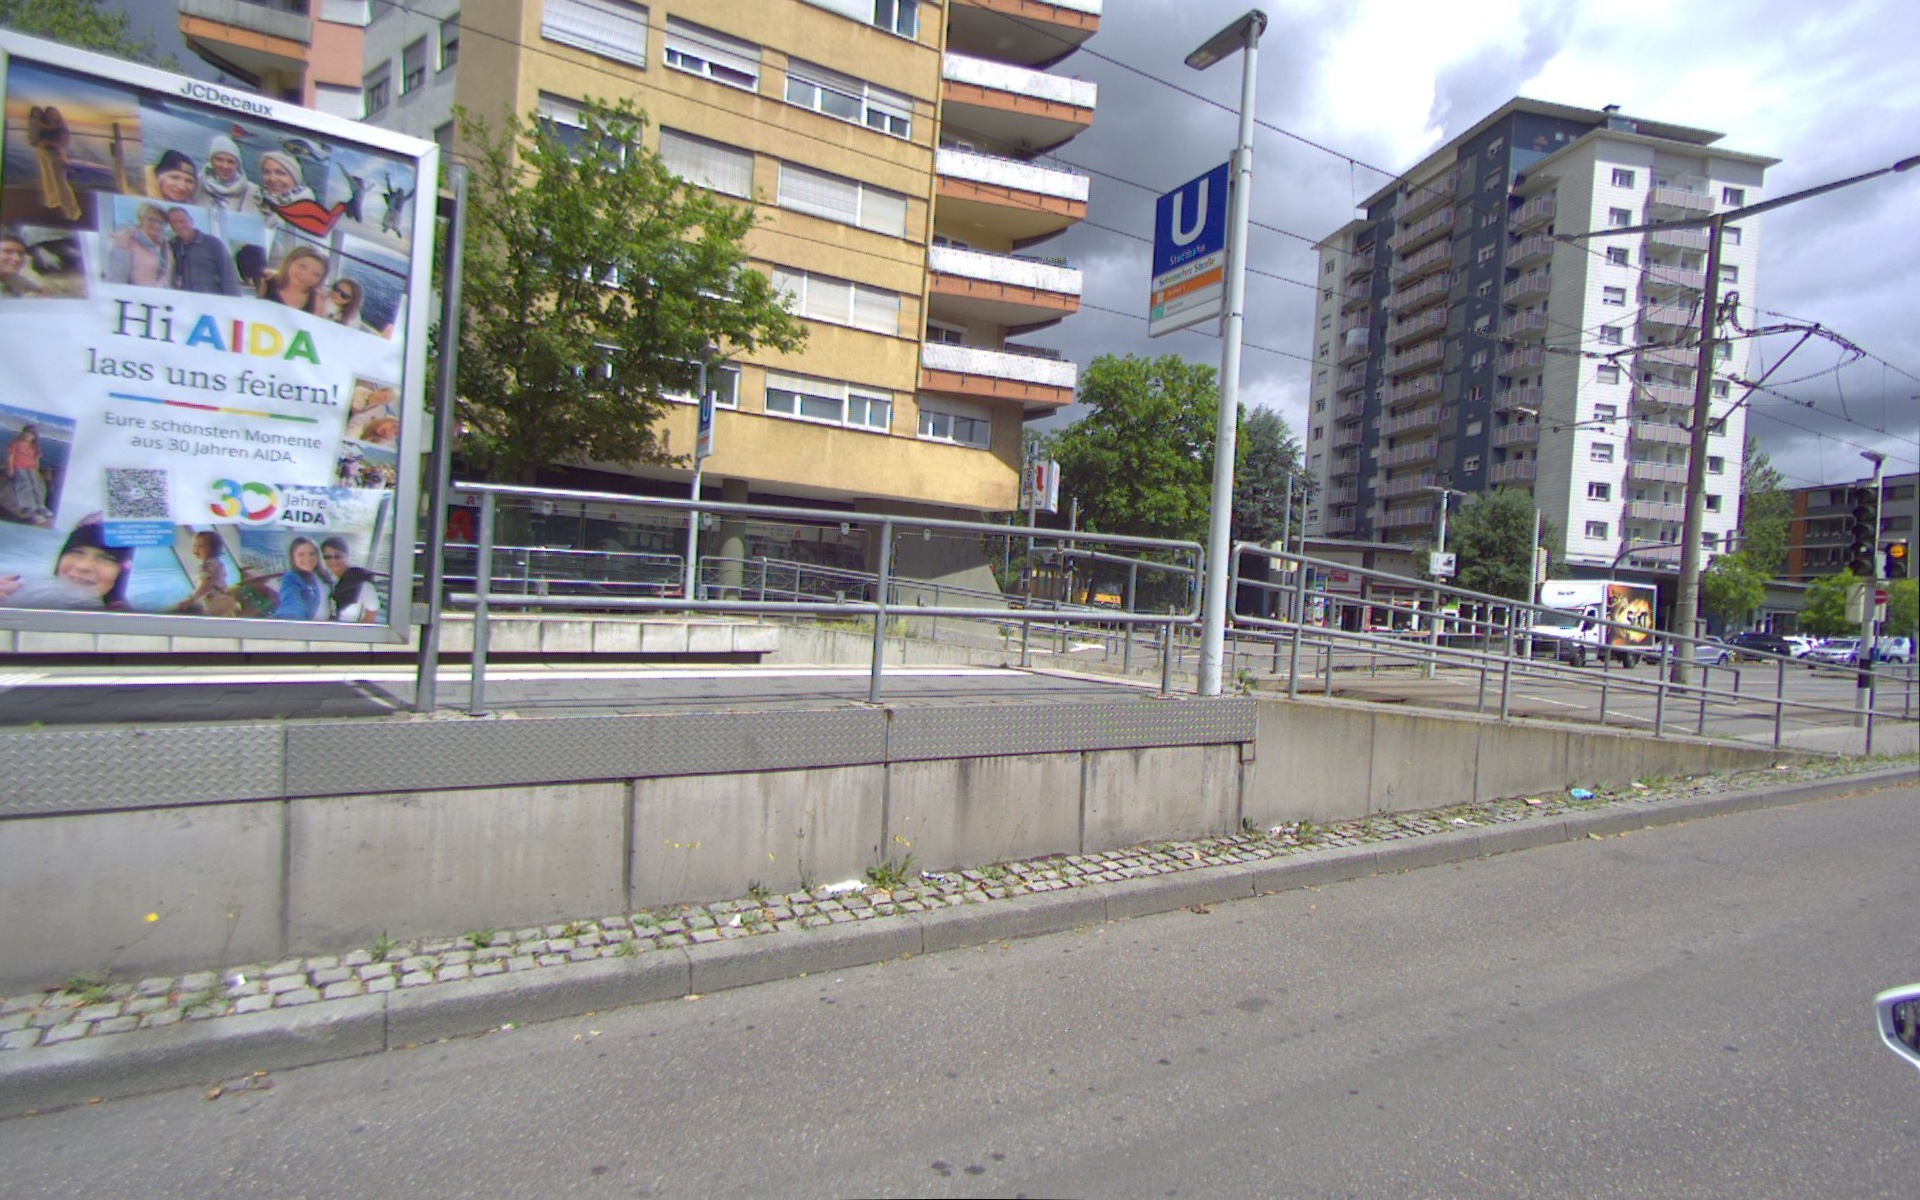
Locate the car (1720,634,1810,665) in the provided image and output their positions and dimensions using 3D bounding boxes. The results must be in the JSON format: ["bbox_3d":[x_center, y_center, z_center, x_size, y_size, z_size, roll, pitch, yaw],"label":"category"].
[{"bbox_3d":[48.211,2.935,60.216,3.845,1.669,1.657,2,0,15],"label":"car"}]

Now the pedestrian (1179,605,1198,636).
[{"bbox_3d":[10.720,0.962,47.129,0.669,1.394,0.473,2,1,-31],"label":"pedestrian"}]

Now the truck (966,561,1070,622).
[{"bbox_3d":[2.333,-0.371,41.631,2.322,2.321,4.260,2,1,-28],"label":"truck"}]

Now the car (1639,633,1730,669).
[{"bbox_3d":[32.512,2.295,45.088,3.716,1.480,1.405,2,0,-19],"label":"car"}]

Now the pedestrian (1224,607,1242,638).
[{"bbox_3d":[13.661,1.131,50.296,0.658,1.500,0.554,1,1,-38],"label":"pedestrian"}]

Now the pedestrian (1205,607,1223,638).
[{"bbox_3d":[12.433,1.099,49.179,0.657,1.487,0.554,1,1,-36],"label":"pedestrian"}]

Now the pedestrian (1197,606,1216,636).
[{"bbox_3d":[11.704,0.977,47.682,0.669,1.394,0.536,2,1,-31],"label":"pedestrian"}]

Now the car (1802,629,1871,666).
[{"bbox_3d":[45.384,2.474,51.974,3.731,1.780,1.583,2,0,-31],"label":"car"}]

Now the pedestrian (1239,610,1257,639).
[{"bbox_3d":[14.593,1.227,50.914,0.657,1.435,0.554,1,1,-36],"label":"pedestrian"}]

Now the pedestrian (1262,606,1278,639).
[{"bbox_3d":[16.655,1.210,54.000,0.708,1.693,0.365,2,1,-27],"label":"pedestrian"}]

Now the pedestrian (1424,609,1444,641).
[{"bbox_3d":[30.615,1.624,64.920,0.830,2.040,0.861,1,0,-2],"label":"pedestrian"}]

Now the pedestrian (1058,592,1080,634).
[{"bbox_3d":[4.737,0.577,43.741,0.654,1.799,0.654,2,1,-27],"label":"pedestrian"}]

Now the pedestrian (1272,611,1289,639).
[{"bbox_3d":[16.536,1.283,51.845,0.657,1.435,0.554,1,1,-36],"label":"pedestrian"}]

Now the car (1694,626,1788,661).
[{"bbox_3d":[43.994,2.424,56.654,3.927,1.709,1.574,2,0,28],"label":"car"}]

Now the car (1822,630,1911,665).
[{"bbox_3d":[58.582,3.060,64.981,3.846,2.001,1.657,2,0,19],"label":"car"}]

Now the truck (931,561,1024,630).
[{"bbox_3d":[0.886,-0.299,58.461,2.191,3.688,7.123,2,0,-27],"label":"truck"}]

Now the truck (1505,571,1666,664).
[{"bbox_3d":[23.369,0.678,37.406,7.243,3.159,2.267,2,0,-34],"label":"truck"}]
